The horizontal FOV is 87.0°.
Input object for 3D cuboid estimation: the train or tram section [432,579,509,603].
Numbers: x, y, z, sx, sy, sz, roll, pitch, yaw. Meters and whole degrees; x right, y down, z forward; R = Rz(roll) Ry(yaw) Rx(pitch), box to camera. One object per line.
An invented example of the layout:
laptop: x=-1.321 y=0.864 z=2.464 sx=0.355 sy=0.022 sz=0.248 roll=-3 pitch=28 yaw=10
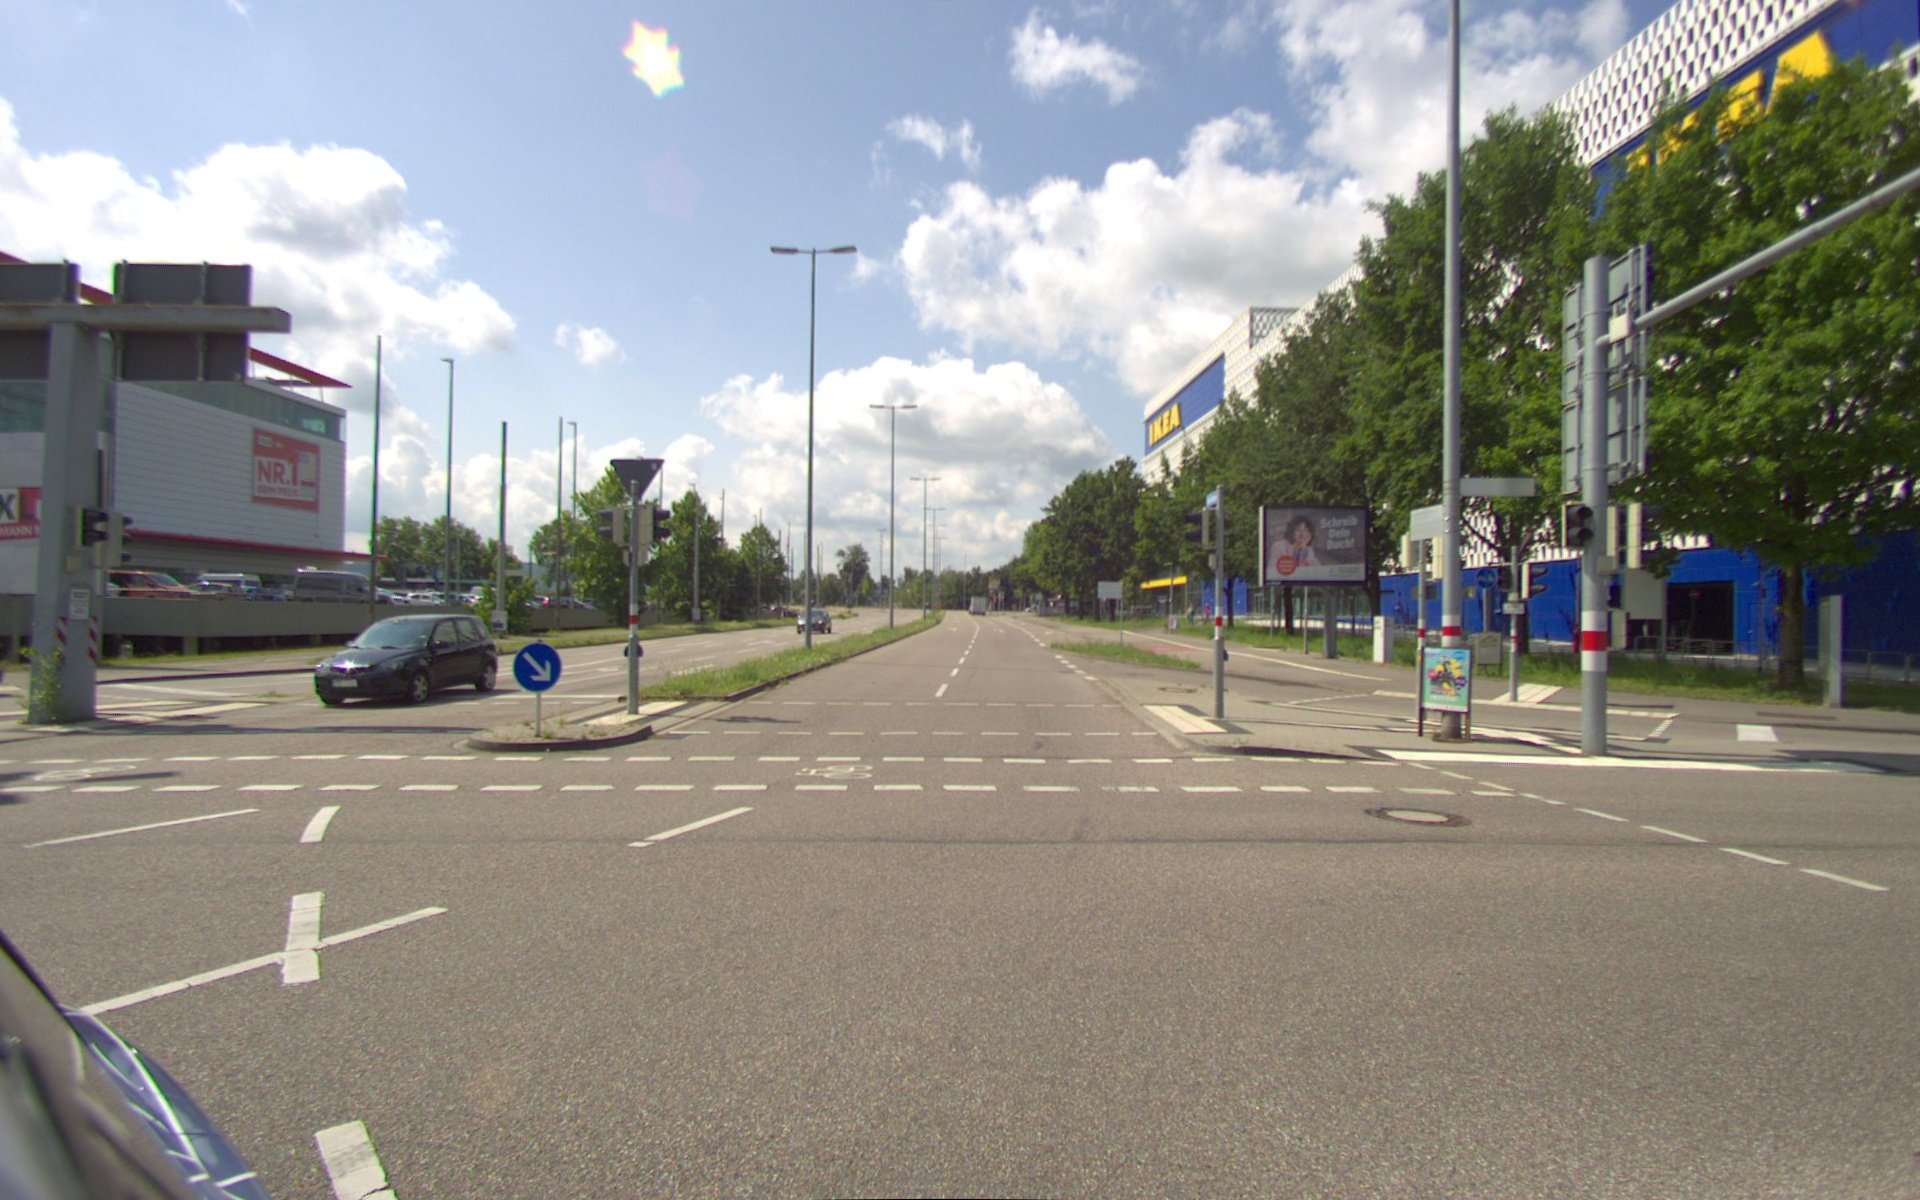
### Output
train or tram section: x=-94.423 y=-1.712 z=195.406 sx=12.922 sy=4.404 sz=3.732 roll=1 pitch=0 yaw=0

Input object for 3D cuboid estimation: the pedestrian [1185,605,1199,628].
pedestrian: x=18.279 y=1.286 z=79.764 sx=0.843 sy=1.741 sz=1.163 roll=-1 pitch=0 yaw=4

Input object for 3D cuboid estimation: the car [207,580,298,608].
car: x=-43.517 y=-0.359 z=62.293 sx=4.365 sy=1.617 sz=1.953 roll=0 pitch=0 yaw=3

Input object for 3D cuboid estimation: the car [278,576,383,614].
car: x=-40.741 y=-0.314 z=65.552 sx=5.716 sy=2.300 sz=1.750 roll=-1 pitch=0 yaw=-1

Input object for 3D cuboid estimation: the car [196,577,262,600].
car: x=-58.120 y=-0.919 z=80.483 sx=3.945 sy=1.763 sz=1.916 roll=-1 pitch=0 yaw=1

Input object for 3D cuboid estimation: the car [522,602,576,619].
car: x=-39.171 y=0.988 z=96.423 sx=4.363 sy=1.617 sz=1.954 roll=0 pitch=0 yaw=1

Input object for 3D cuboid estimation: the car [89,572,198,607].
car: x=-43.867 y=-0.576 z=54.447 sx=4.120 sy=1.763 sz=1.921 roll=-1 pitch=0 yaw=-11

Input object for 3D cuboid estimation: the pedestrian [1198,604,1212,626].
pedestrian: x=19.280 y=1.171 z=79.525 sx=0.843 sy=1.741 sz=1.163 roll=-1 pitch=0 yaw=4

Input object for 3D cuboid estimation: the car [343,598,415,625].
car: x=-39.914 y=0.770 z=69.582 sx=3.947 sy=1.807 sz=1.748 roll=-1 pitch=0 yaw=3

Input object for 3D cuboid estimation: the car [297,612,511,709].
car: x=-10.118 y=1.026 z=18.836 sx=1.586 sy=1.541 sz=4.268 roll=0 pitch=0 yaw=1

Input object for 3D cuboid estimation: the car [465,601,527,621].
car: x=-39.570 y=0.943 z=86.364 sx=4.363 sy=1.617 sz=1.954 roll=0 pitch=0 yaw=1

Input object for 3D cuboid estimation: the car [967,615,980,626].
car: x=2.191 y=3.343 z=164.131 sx=1.917 sy=1.696 sz=3.997 roll=-1 pitch=0 yaw=2

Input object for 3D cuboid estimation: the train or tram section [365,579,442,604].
train or tram section: x=-107.407 y=-1.642 z=195.455 sx=12.922 sy=4.595 sz=3.732 roll=-1 pitch=0 yaw=0

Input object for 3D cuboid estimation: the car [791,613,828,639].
car: x=-9.108 y=1.562 z=61.479 sx=1.586 sy=1.541 sz=4.268 roll=0 pitch=-1 yaw=1

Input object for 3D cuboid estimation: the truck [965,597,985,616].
truck: x=2.296 y=1.008 z=155.622 sx=2.932 sy=2.772 sz=5.785 roll=-1 pitch=0 yaw=-1

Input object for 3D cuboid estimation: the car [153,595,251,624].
car: x=-44.606 y=0.561 z=59.581 sx=4.363 sy=1.617 sz=1.954 roll=0 pitch=0 yaw=1
